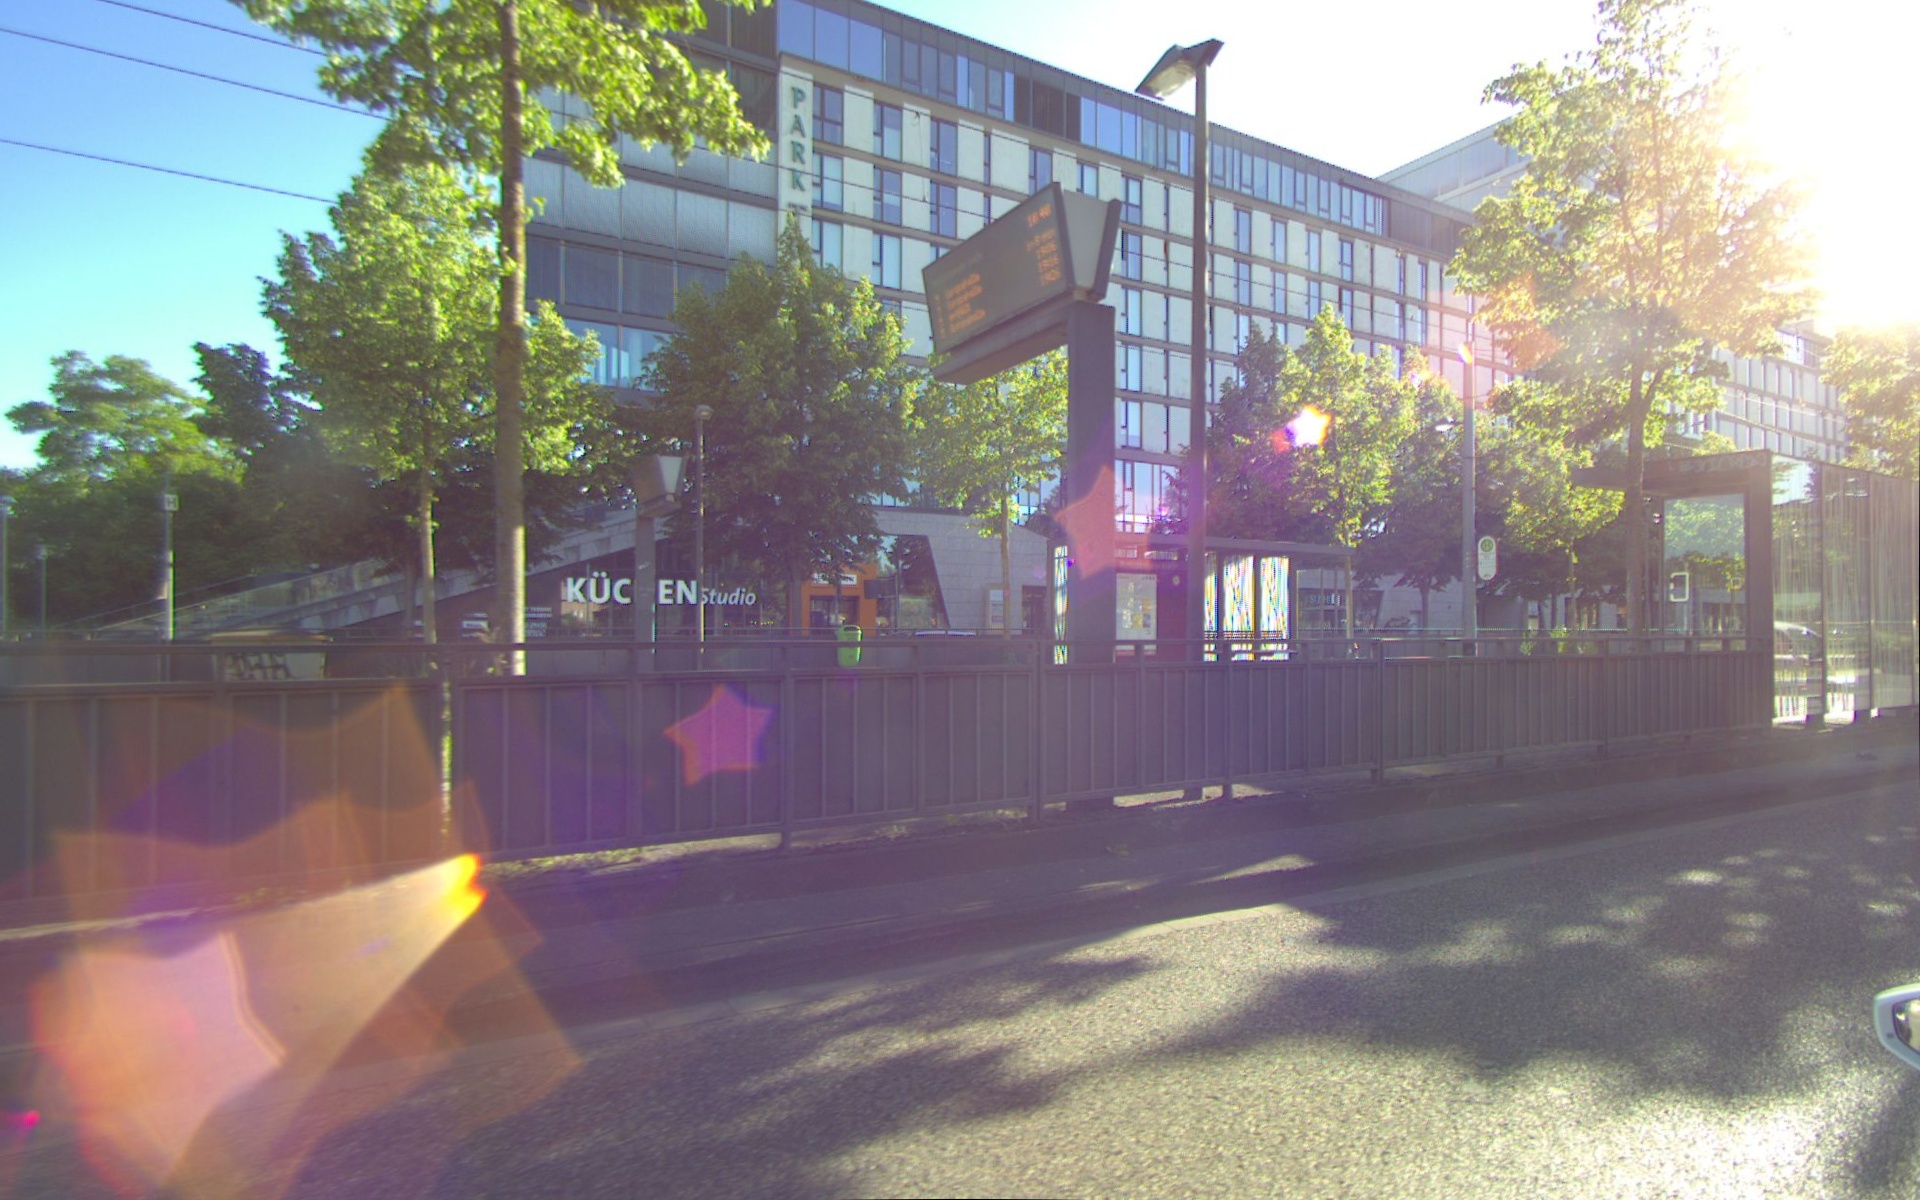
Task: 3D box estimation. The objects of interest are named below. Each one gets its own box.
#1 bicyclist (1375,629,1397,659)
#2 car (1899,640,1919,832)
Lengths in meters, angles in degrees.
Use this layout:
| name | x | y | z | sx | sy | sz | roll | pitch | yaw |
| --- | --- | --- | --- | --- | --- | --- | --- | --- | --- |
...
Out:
| name | x | y | z | sx | sy | sz | roll | pitch | yaw |
| --- | --- | --- | --- | --- | --- | --- | --- | --- | --- |
| bicyclist | 21.827 | 2.239 | 51.482 | 0.821 | 1.483 | 0.717 | 1 | -1 | -28 |
| car | 9.093 | 1.032 | 7.671 | 4.097 | 1.384 | 1.713 | 1 | -1 | -30 |
